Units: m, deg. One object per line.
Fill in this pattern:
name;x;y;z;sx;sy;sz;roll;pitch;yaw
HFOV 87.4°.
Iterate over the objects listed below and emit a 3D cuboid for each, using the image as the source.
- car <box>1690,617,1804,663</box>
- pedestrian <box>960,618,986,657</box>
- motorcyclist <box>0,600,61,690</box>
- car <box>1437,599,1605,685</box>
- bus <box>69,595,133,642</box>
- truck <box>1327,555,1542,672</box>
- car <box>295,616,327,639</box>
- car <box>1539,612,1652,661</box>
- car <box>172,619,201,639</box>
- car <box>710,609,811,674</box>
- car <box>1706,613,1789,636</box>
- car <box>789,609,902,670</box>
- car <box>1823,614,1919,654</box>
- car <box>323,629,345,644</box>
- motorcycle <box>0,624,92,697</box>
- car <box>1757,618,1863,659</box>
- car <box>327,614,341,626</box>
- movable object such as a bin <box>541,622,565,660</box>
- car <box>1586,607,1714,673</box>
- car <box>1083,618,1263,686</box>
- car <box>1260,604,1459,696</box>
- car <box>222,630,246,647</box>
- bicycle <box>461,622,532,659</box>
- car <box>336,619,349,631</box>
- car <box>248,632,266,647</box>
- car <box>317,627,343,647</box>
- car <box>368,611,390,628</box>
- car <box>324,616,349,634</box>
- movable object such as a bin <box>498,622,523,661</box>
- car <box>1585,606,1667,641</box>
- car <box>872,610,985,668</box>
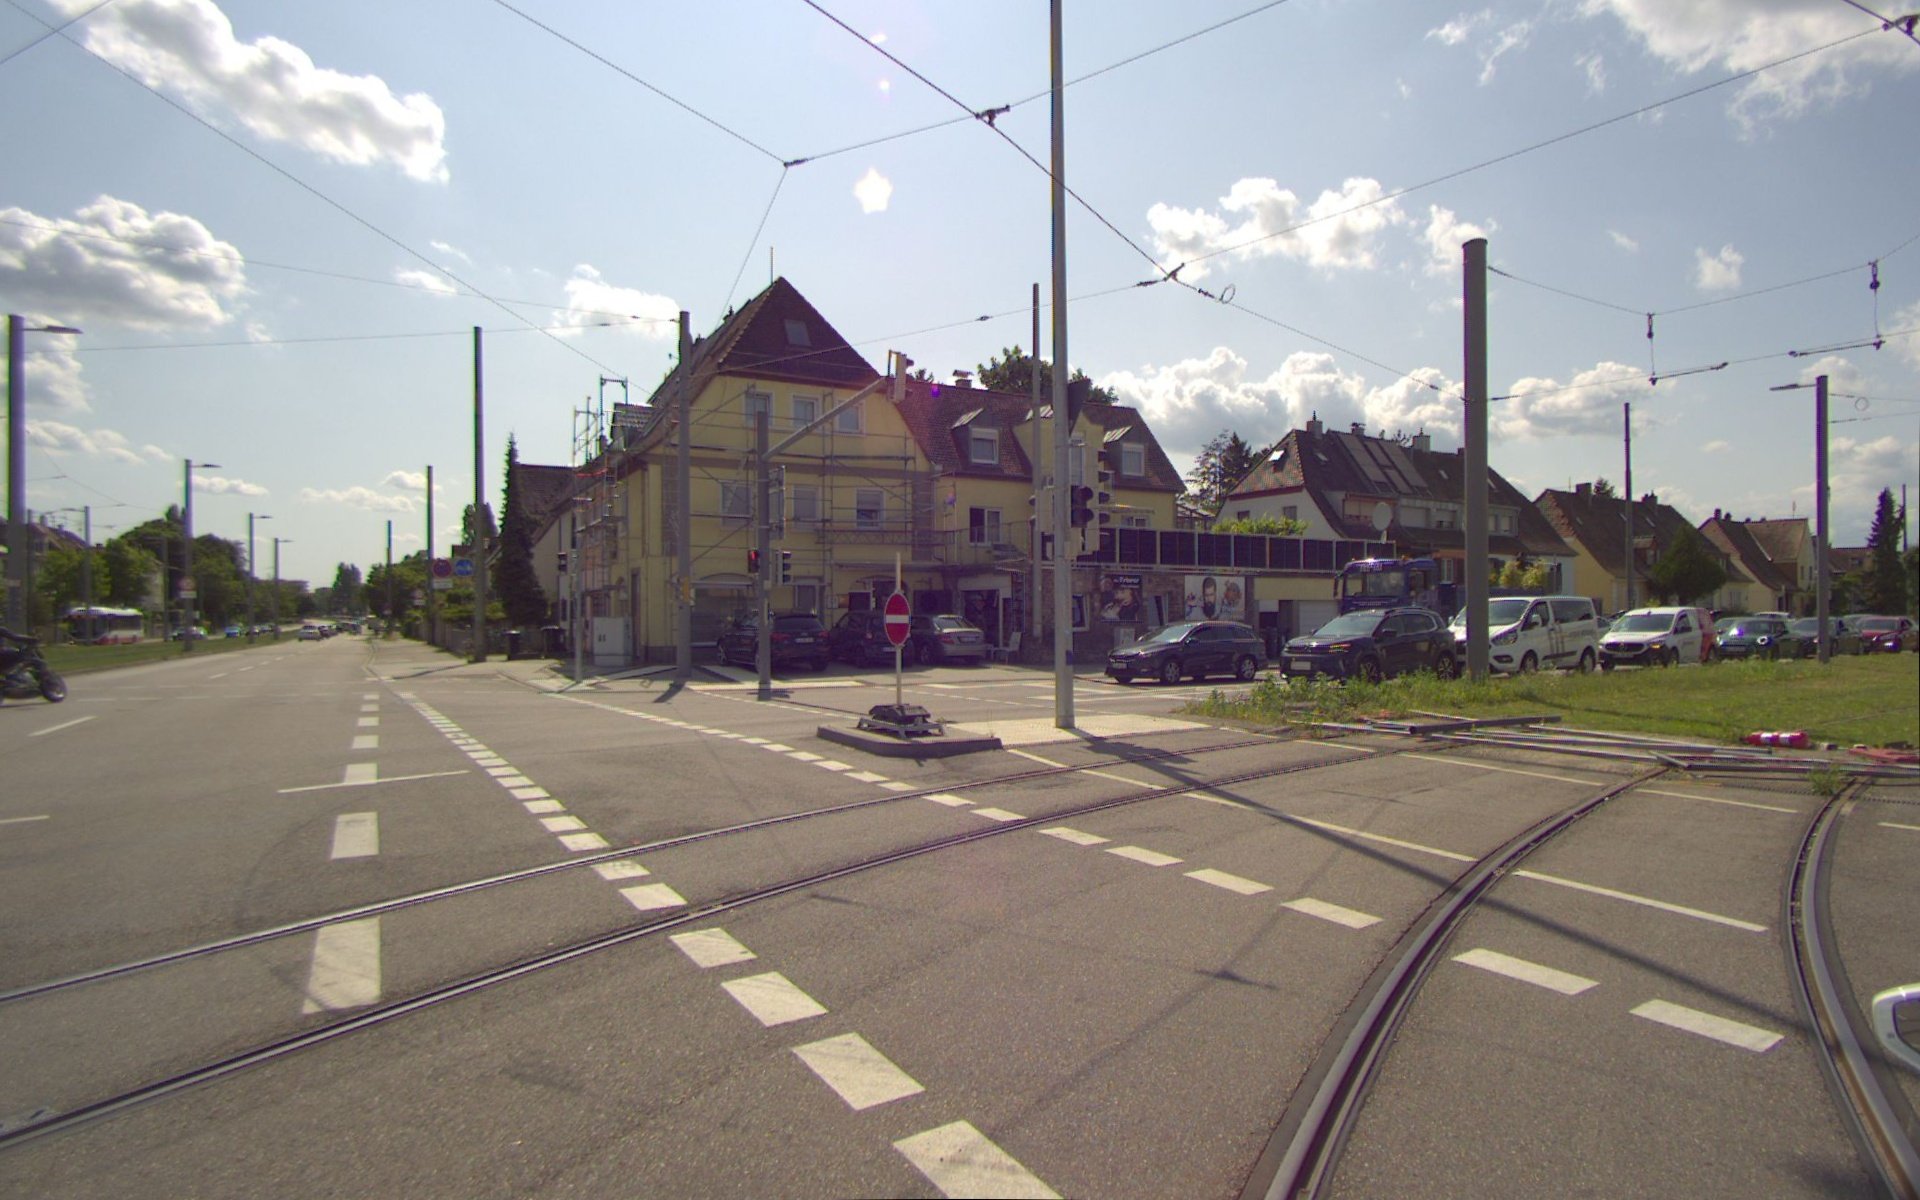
car;25.753;1.273;32.851;3.961;1.437;1.902;1;-1;-36
pedestrian;0.428;1.234;32.846;0.570;1.236;0.601;0;1;-43
motorcyclist;-15.813;0.740;16.624;0.810;1.417;1.099;-2;2;-4
car;13.839;0.979;24.673;4.702;1.947;1.802;1;-1;-36
bus;-74.580;1.597;87.444;2.374;3.827;11.919;0;-1;-32
truck;14.768;0.438;31.028;7.508;3.230;2.750;1;-1;-36
car;-59.949;2.548;92.831;1.973;2.040;3.975;0;-1;-25
car;22.946;1.289;36.235;4.391;1.681;1.832;1;-1;-34
car;-79.656;2.986;103.442;1.978;2.040;3.965;0;-1;-32
car;-5.498;1.074;27.336;1.167;1.513;4.107;0;1;-35
car;53.741;1.670;68.635;1.970;1.486;4.082;0;-1;-34
car;-3.367;1.076;28.983;1.492;1.513;4.107;0;1;-35
car;36.835;1.343;40.563;4.807;1.513;1.832;1;-1;-35
car;-84.681;4.922;135.941;1.973;2.040;3.975;0;-1;-25
motorcycle;-15.831;0.993;16.735;0.828;1.143;2.357;0;-1;-4
car;31.068;1.370;36.680;4.868;1.432;1.831;1;-1;-36
car;-101.304;3.234;162.527;1.979;2.040;3.964;0;-1;-33
movable object such as a bin;-13.921;1.392;34.316;0.674;1.277;0.678;0;1;-31
car;20.191;1.121;29.347;4.362;1.805;1.721;1;-1;-36
car;5.236;1.216;24.480;4.287;1.506;1.817;1;-1;-33
car;8.488;0.981;21.211;4.395;1.743;1.775;0;-1;-34
car;-93.930;4.971;130.009;1.975;2.040;3.972;0;-1;-27
bicycle;-17.713;1.536;38.420;2.426;1.374;0.771;0;1;-27
car;-109.610;4.455;178.246;1.978;2.040;3.964;0;-1;-33
car;-103.766;5.811;148.289;1.977;2.040;3.967;0;-1;-31
car;-66.020;3.845;105.298;1.975;2.040;3.970;0;-1;-29
car;-73.140;2.464;126.528;1.973;2.040;3.976;0;-2;-25
car;-71.592;2.839;115.345;1.973;2.040;3.975;0;-1;-25
movable object such as a bin;-15.076;1.388;33.679;0.674;1.277;0.678;0;1;-31
car;36.927;1.274;55.710;1.589;1.616;3.361;1;4;-35
car;-1.019;1.120;30.274;1.420;1.513;4.107;0;1;-35
